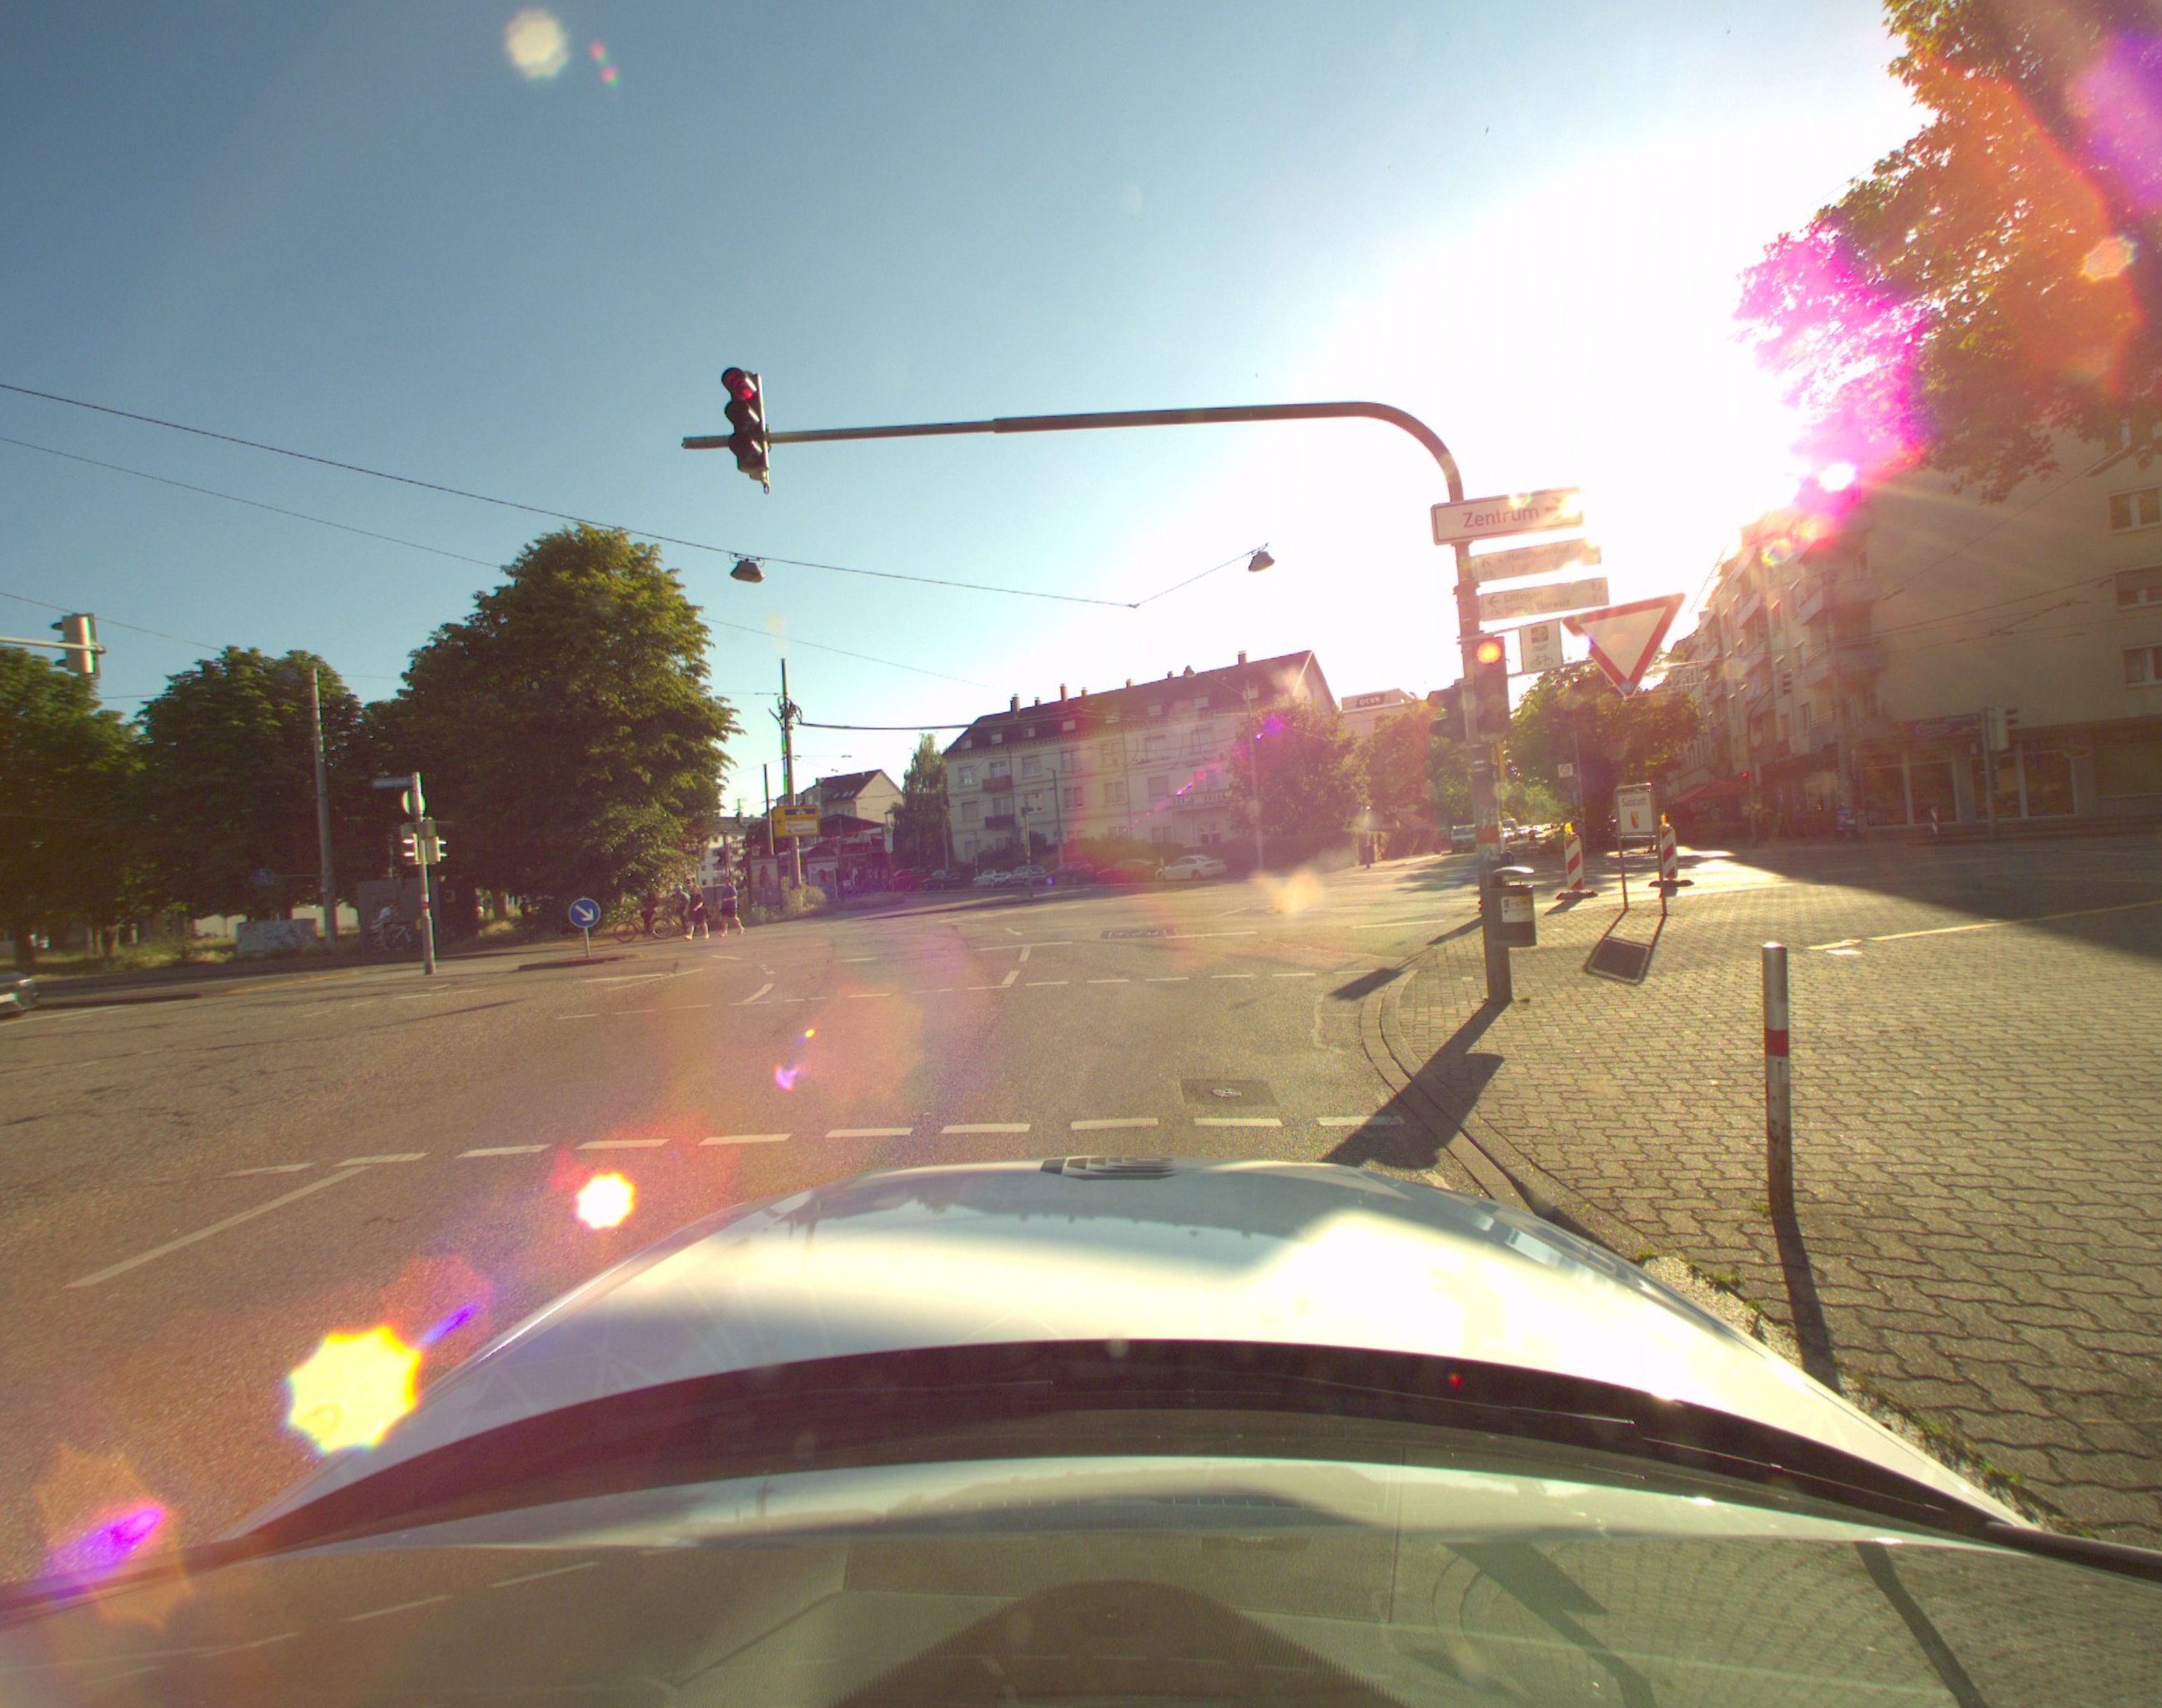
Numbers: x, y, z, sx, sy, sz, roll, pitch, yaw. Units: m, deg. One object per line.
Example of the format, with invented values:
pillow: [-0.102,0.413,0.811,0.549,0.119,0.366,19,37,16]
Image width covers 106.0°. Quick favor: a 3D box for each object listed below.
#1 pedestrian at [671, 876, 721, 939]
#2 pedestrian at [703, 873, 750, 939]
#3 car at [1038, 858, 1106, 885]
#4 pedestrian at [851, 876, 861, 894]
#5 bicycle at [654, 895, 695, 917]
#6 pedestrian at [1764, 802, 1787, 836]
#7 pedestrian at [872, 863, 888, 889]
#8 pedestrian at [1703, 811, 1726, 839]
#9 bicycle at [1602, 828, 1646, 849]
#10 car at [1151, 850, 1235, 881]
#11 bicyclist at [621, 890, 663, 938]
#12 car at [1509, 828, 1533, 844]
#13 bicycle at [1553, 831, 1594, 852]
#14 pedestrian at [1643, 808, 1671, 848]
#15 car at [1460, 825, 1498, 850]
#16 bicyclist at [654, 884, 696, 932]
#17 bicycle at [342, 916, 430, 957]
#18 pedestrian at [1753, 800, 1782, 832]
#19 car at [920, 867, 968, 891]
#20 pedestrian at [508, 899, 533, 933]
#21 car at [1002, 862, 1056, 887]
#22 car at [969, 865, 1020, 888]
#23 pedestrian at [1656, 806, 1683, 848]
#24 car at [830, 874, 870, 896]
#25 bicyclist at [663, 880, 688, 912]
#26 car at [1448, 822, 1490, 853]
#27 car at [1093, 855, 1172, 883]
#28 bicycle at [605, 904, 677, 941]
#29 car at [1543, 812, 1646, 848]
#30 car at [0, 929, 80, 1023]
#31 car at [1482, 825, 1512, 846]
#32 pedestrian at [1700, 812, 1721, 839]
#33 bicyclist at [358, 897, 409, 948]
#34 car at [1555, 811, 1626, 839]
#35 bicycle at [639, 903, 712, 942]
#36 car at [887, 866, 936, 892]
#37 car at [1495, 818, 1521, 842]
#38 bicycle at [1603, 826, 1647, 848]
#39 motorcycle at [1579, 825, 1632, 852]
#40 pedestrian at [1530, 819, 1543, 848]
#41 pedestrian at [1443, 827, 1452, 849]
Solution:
pedestrian: [-11.436,1.582,24.223,0.911,1.747,1.065,-4,-1,-6]
pedestrian: [-11.024,1.588,25.354,0.911,1.925,1.065,-4,-1,-6]
car: [-0.667,1.197,54.802,1.998,1.447,4.650,-7,1,-39]
pedestrian: [-18.498,2.549,67.061,0.569,1.500,0.672,-4,-1,-27]
bicycle: [-21.934,2.795,43.980,0.656,1.069,2.030,-1,-1,22]
pedestrian: [33.849,-1.706,39.703,0.612,1.591,0.480,-4,-1,15]
pedestrian: [-16.266,1.804,65.947,0.928,2.013,0.760,-4,-1,-34]
pedestrian: [33.378,-1.530,42.915,0.803,1.362,0.920,-5,-1,36]
bicycle: [26.871,-0.771,40.329,1.707,0.932,0.565,-5,-1,31]
car: [6.273,0.673,46.131,1.941,1.376,4.443,-7,1,-40]
bicyclist: [-15.154,2.073,28.143,1.035,1.532,0.658,-4,-1,-13]
car: [56.645,-2.360,104.852,2.332,1.795,5.344,-5,-1,32]
bicycle: [24.922,-0.640,41.205,1.707,0.932,0.676,-5,-1,31]
pedestrian: [26.025,-1.167,36.816,0.799,1.750,0.710,-4,-1,-38]
car: [31.693,-1.338,64.757,2.332,1.795,5.343,-5,-1,28]
bicyclist: [-13.684,1.808,27.468,1.034,1.532,0.695,-4,-1,-11]
bicycle: [-24.027,2.842,28.188,2.193,1.142,0.698,-4,-1,-9]
pedestrian: [34.122,-1.881,40.503,0.804,1.544,0.919,-5,-1,25]
car: [-11.406,2.074,67.633,1.855,1.667,4.319,-7,1,-39]
pedestrian: [-32.375,3.560,47.013,0.934,1.872,0.691,-4,-1,21]
car: [-3.742,1.457,58.121,1.998,1.447,3.676,-7,1,-39]
car: [-6.586,1.728,61.682,1.855,1.447,3.912,-7,1,-39]
pedestrian: [25.839,-1.174,35.755,0.799,1.750,0.685,-4,-1,-39]
car: [-23.845,3.193,83.952,2.067,1.961,5.091,-7,1,-39]
bicyclist: [-21.928,2.267,44.063,0.662,1.652,0.892,-4,-1,27]
car: [28.389,-1.235,59.452,2.332,2.013,5.343,-5,-1,28]
car: [3.126,0.943,50.201,1.999,1.376,4.647,-7,1,-44]
bicycle: [-15.192,2.345,28.145,2.014,1.069,0.661,-4,-1,-12]
car: [34.254,-1.545,54.553,5.567,1.924,2.377,-5,-2,28]
car: [-21.390,2.371,14.636,4.415,1.567,2.057,-4,0,5]
car: [39.717,-1.796,77.677,2.332,1.795,5.343,-5,-1,28]
pedestrian: [34.057,-1.526,44.070,0.803,1.362,0.920,-5,-1,36]
bicyclist: [-24.122,2.348,28.176,1.038,1.629,0.711,-4,-1,-8]
car: [44.683,-2.514,71.626,5.042,1.924,2.377,-5,-2,28]
bicycle: [-13.622,2.297,27.419,2.014,1.069,0.661,-4,-1,-11]
car: [-15.203,2.231,72.767,2.067,1.961,5.091,-7,1,-39]
car: [47.946,-2.702,91.352,2.332,2.514,5.343,-5,-1,28]
bicycle: [26.473,-0.818,39.665,1.707,0.932,0.565,-5,-1,31]
motorcycle: [24.971,-0.717,38.811,1.933,1.109,0.842,-5,-1,26]
pedestrian: [30.167,-1.361,53.921,0.655,1.839,0.687,-4,-1,30]
pedestrian: [29.569,-1.310,65.681,0.573,1.730,0.612,-4,-1,26]
